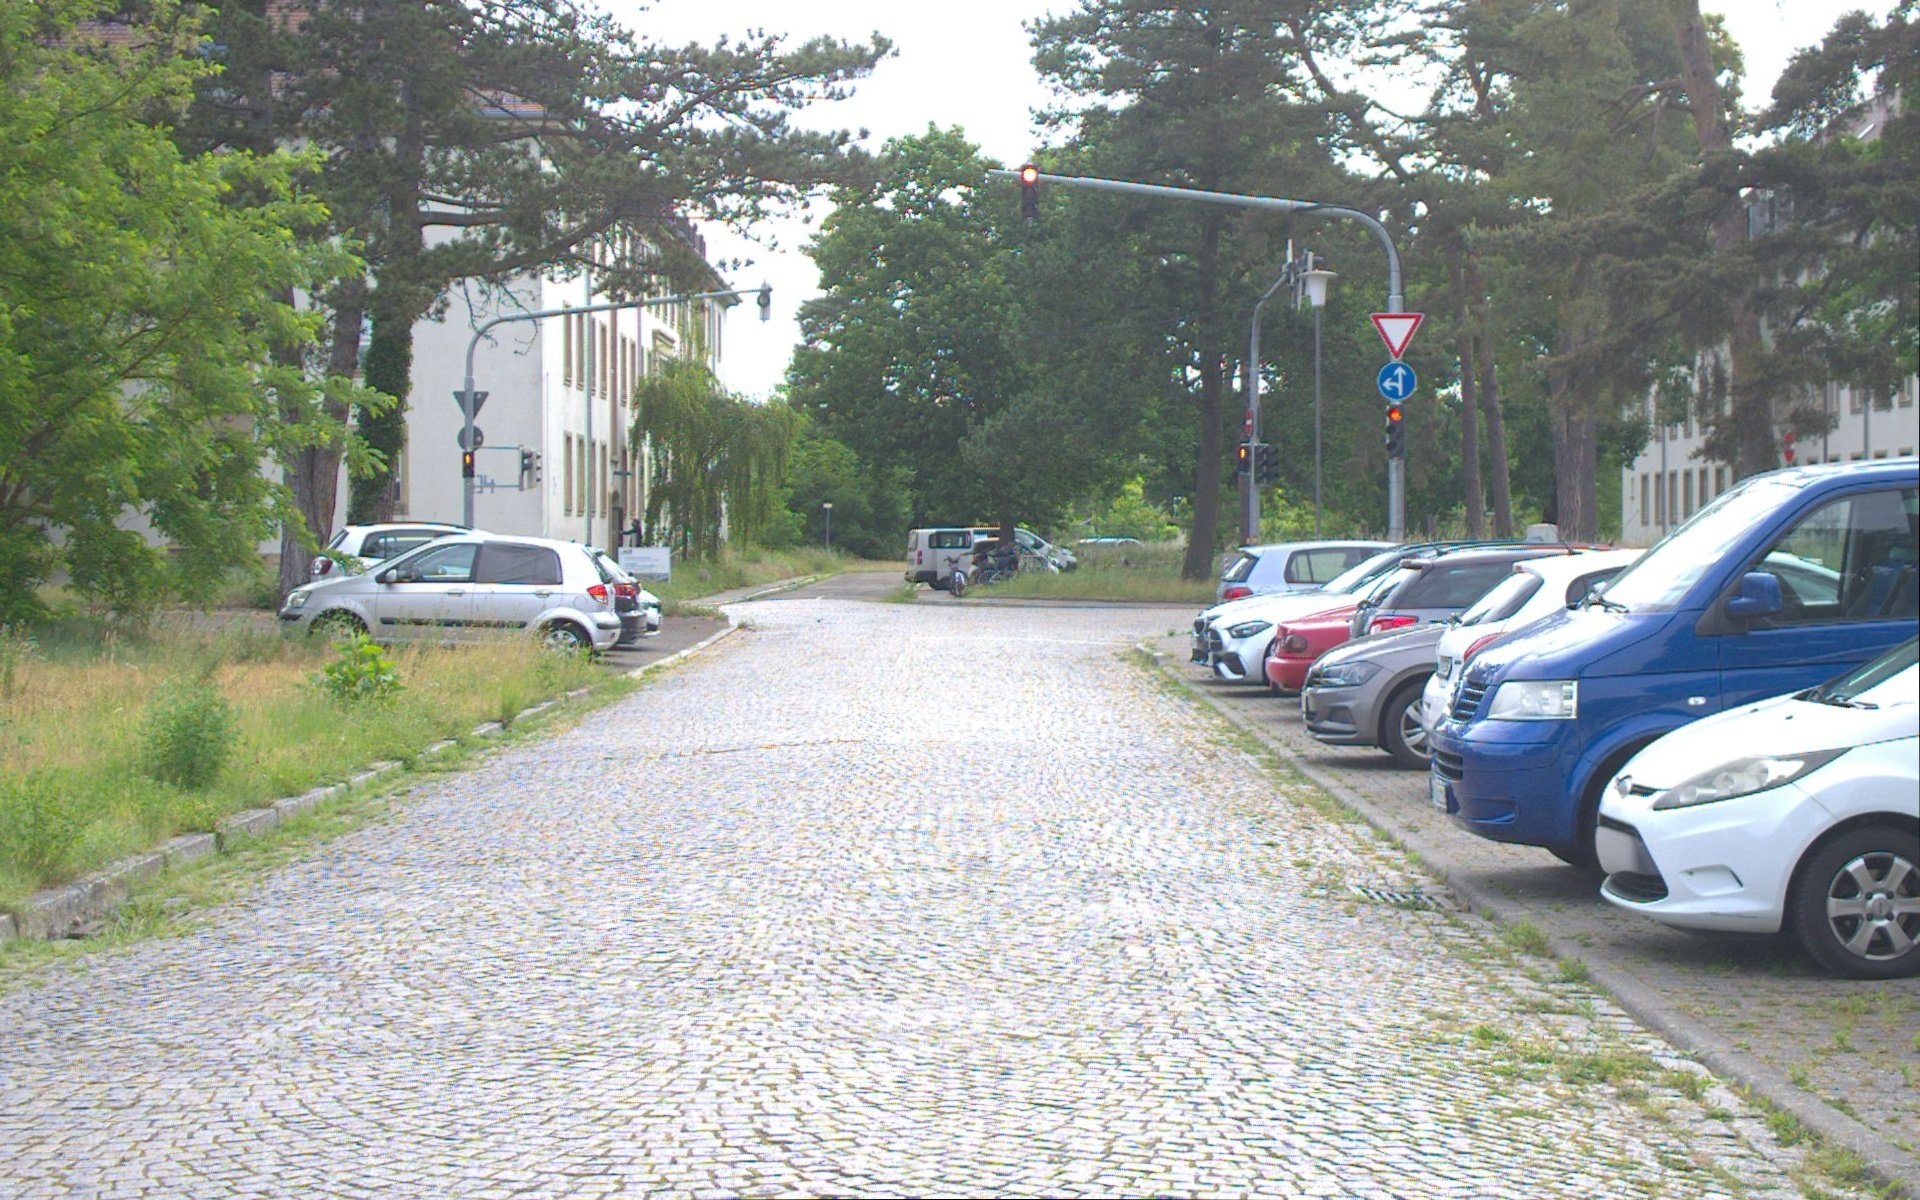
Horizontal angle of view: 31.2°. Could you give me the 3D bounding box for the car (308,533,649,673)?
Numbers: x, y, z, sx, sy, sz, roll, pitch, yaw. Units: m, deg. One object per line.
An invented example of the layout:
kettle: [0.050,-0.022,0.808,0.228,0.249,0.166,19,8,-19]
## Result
car: [-5.698,0.026,40.962,3.821,1.567,1.564,-1,1,0]

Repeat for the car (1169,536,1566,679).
car: [4.331,0.067,36.887,3.967,1.416,1.620,-1,1,-4]

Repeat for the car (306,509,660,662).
car: [-6.051,-0.192,43.950,4.262,1.834,1.744,-1,1,0]

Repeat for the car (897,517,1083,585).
car: [0.900,-1.510,106.392,5.444,2.007,2.269,1,1,-9]

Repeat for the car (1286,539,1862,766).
car: [4.192,0.339,23.802,3.671,1.444,1.524,-1,1,-1]

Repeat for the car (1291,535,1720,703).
car: [4.994,0.160,31.774,3.671,1.444,1.524,-1,1,-1]

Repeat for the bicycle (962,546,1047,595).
bicycle: [1.148,-0.763,88.489,2.136,1.210,0.622,1,1,-4]

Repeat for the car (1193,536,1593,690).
car: [4.248,0.115,34.032,3.671,1.416,1.524,-1,1,-4]

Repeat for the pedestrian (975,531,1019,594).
pedestrian: [0.950,-0.976,88.830,1.033,1.608,0.757,1,1,-4]

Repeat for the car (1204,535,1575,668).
car: [4.899,0.001,39.532,3.967,1.416,1.620,-1,1,-4]

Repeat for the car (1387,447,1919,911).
car: [4.488,0.298,15.740,4.754,1.948,1.931,-1,1,-2]

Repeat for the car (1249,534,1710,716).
car: [4.407,0.196,29.494,3.671,1.444,1.524,-1,1,-1]

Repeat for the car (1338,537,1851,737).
car: [4.890,0.270,26.785,3.671,1.444,1.524,-1,1,-1]

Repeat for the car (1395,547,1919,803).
car: [4.619,0.425,21.020,3.671,1.444,1.524,-1,1,-1]

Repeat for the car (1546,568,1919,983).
car: [4.246,0.597,13.153,3.671,1.444,1.615,-1,1,-2]

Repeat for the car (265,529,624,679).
car: [-5.737,0.033,38.545,3.821,1.567,1.564,-1,1,-3]

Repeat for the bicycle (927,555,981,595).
bicycle: [-0.154,-0.611,84.431,0.620,0.941,1.663,0,1,-28]
